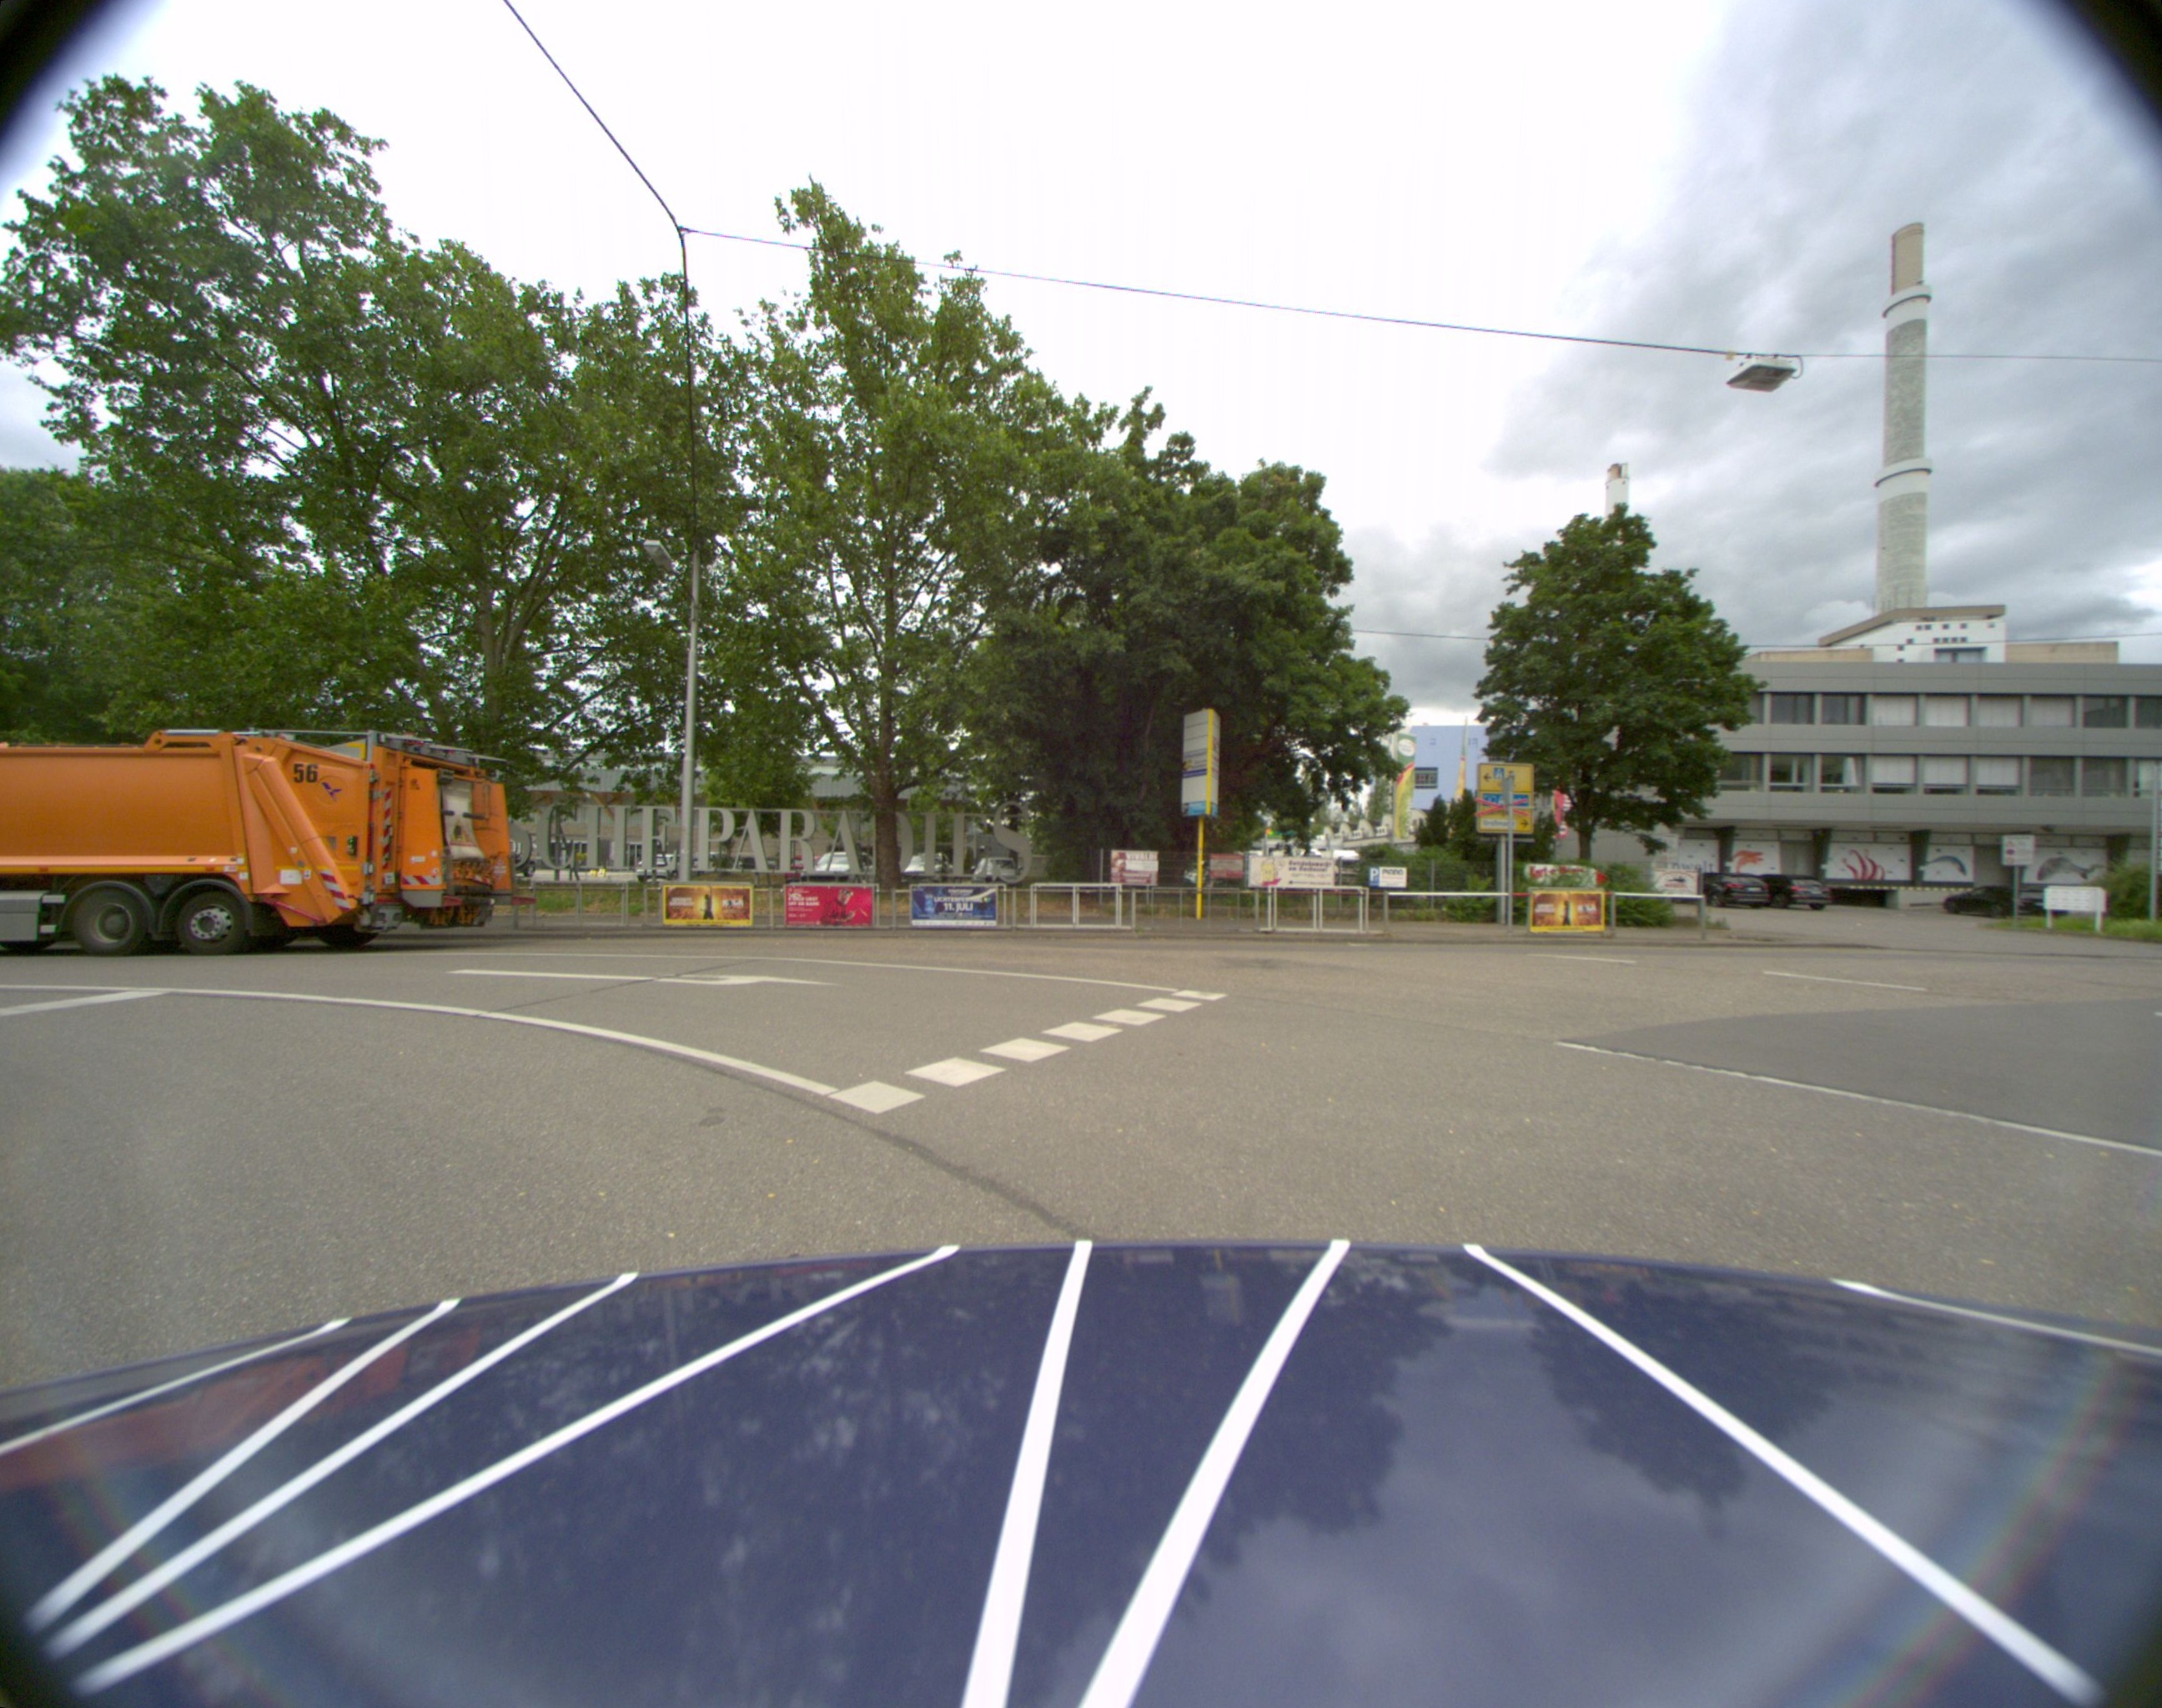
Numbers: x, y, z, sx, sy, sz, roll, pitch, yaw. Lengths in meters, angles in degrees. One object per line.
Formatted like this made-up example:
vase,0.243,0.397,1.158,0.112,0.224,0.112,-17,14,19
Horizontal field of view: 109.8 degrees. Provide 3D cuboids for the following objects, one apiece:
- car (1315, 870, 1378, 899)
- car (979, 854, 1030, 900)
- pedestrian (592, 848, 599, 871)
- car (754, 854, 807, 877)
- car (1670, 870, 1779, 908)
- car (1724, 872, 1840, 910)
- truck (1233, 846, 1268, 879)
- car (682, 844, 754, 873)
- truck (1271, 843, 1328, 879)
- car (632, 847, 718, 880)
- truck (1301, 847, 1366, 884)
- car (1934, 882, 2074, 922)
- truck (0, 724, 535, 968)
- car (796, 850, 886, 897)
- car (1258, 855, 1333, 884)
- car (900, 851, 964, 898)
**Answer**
car,12.340,1.390,35.525,1.708,1.241,3.702,2,-1,1
car,-2.830,0.867,28.752,1.591,1.603,4.001,1,-2,-1
pedestrian,-37.679,0.461,58.944,0.342,1.754,0.437,2,-2,-23
car,-21.855,0.831,55.444,1.999,1.552,4.641,1,-1,-1
car,31.597,1.673,37.496,1.836,1.608,4.467,2,0,6
car,34.458,1.768,37.532,1.837,1.608,4.425,2,0,5
truck,22.223,1.113,100.069,2.996,4.141,9.192,1,-1,4
car,-21.204,0.282,44.565,1.999,1.552,4.641,1,-1,-1
truck,25.831,0.909,91.009,2.849,3.909,15.734,2,-1,2
car,-21.115,0.518,39.719,1.999,1.552,4.641,1,-1,-1
truck,29.875,1.374,90.892,2.849,3.909,15.733,2,-1,2
car,42.423,2.138,35.124,2.045,1.437,4.836,1,1,23
truck,-15.211,-0.090,12.335,10.416,3.505,2.797,0,-1,-3
car,-9.002,0.746,28.943,1.883,1.603,4.527,1,-2,1
car,22.353,1.605,79.482,7.146,2.716,2.245,2,-1,4
car,-5.534,0.775,28.698,1.591,1.603,4.318,1,-2,-1
